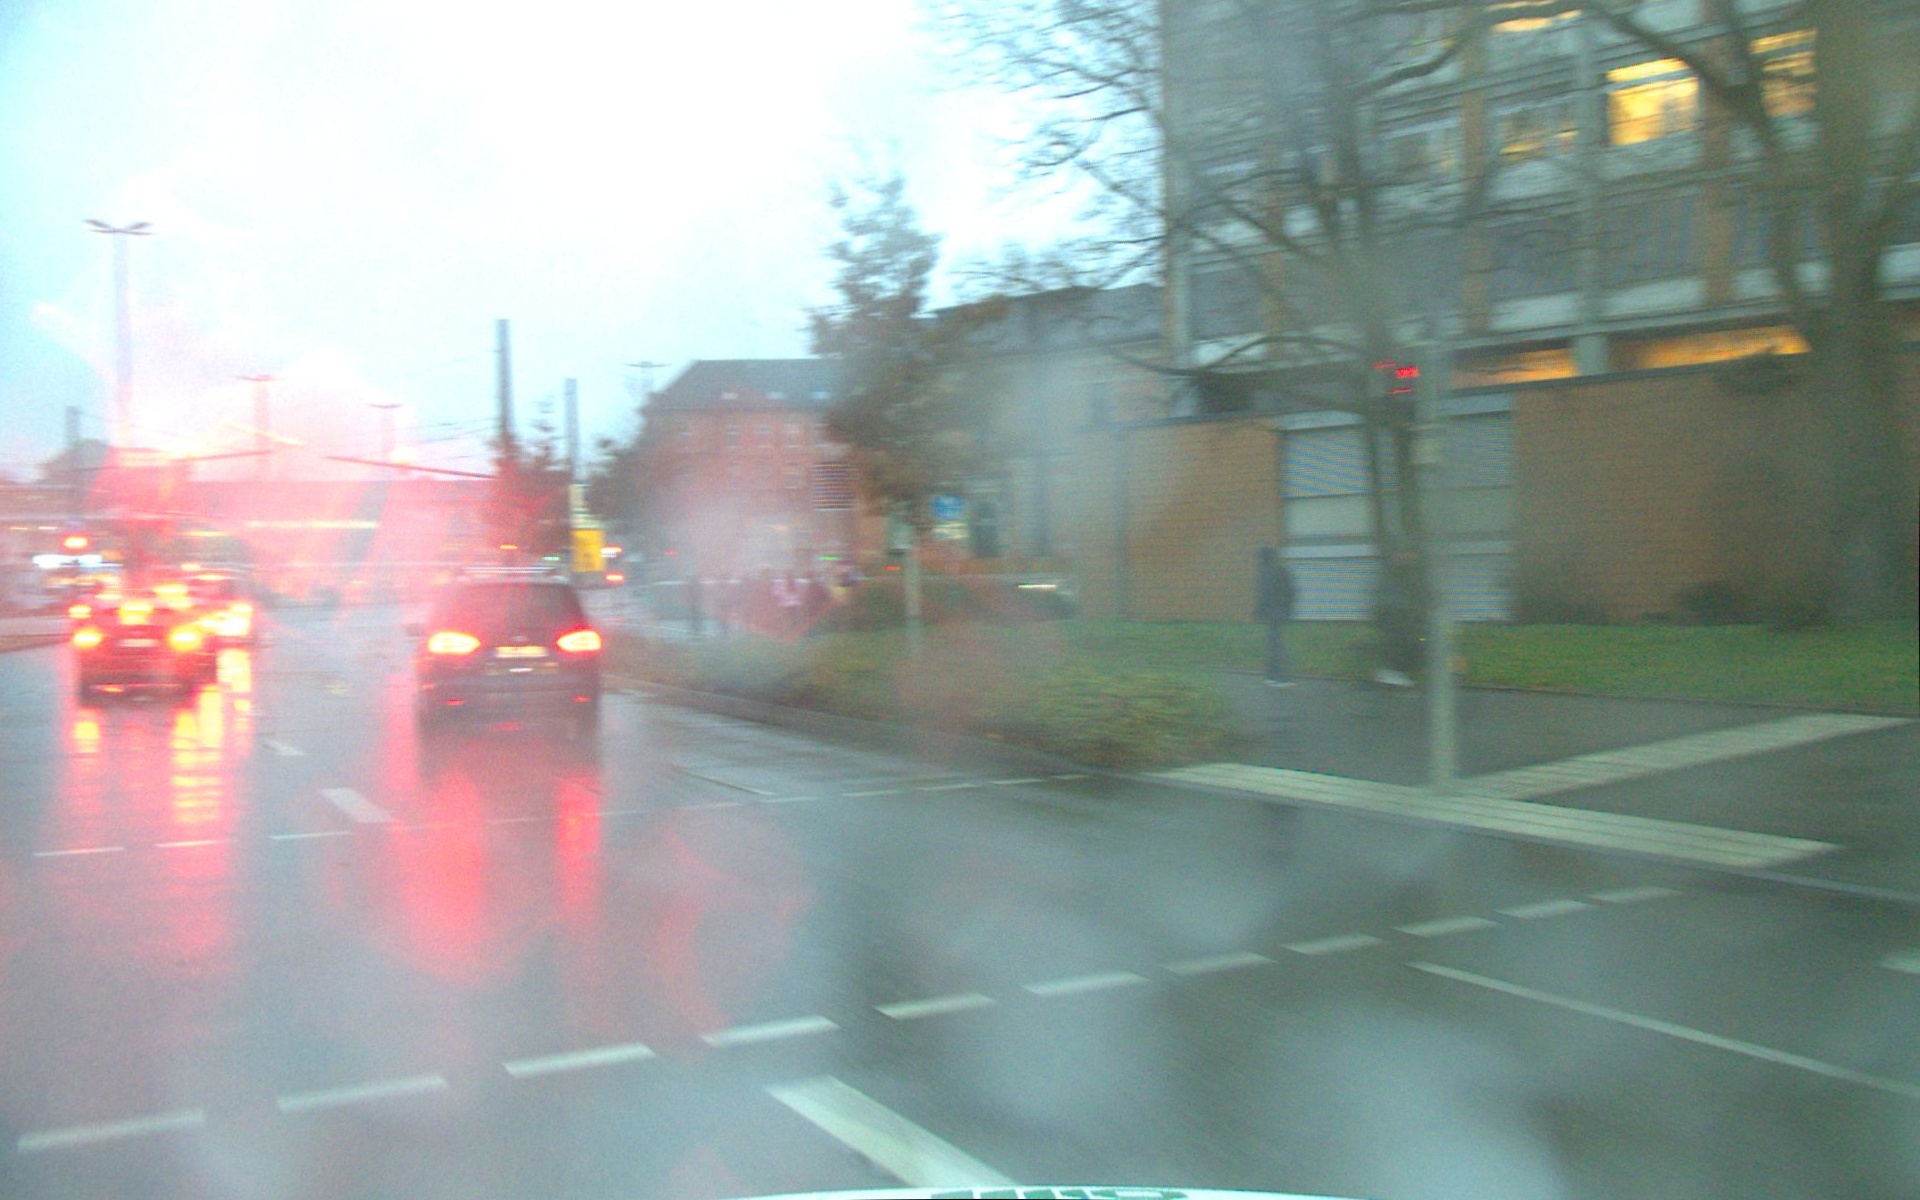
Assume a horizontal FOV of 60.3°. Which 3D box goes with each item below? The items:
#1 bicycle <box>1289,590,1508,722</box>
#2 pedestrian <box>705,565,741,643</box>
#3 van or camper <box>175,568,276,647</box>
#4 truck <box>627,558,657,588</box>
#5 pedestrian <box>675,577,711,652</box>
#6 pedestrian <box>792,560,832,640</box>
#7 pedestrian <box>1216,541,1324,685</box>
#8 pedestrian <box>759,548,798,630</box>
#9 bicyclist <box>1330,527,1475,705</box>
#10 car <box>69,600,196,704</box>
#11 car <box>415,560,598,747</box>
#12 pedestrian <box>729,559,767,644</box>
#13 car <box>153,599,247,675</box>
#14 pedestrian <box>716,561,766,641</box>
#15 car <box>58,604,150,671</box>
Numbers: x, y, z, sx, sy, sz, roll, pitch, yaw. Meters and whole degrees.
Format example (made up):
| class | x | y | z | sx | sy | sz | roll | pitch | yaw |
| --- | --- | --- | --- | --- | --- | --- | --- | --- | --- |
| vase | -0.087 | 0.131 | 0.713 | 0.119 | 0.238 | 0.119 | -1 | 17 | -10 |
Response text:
| class | x | y | z | sx | sy | sz | roll | pitch | yaw |
| --- | --- | --- | --- | --- | --- | --- | --- | --- | --- |
| bicycle | 4.322 | 0.511 | 16.500 | 0.795 | 1.161 | 2.193 | -5 | 3 | -28 |
| pedestrian | -6.347 | 0.095 | 44.311 | 0.790 | 2.048 | 0.761 | 0 | 3 | 4 |
| van or camper | -20.999 | 0.182 | 47.467 | 2.168 | 2.146 | 4.960 | 0 | 0 | -19 |
| truck | -30.426 | -2.550 | 158.443 | 1.954 | 2.738 | 5.113 | -2 | 1 | -3 |
| pedestrian | -7.138 | 0.377 | 44.213 | 0.790 | 1.963 | 0.761 | 0 | 3 | 4 |
| pedestrian | -3.237 | -0.010 | 36.149 | 0.703 | 1.717 | 0.760 | -2 | 1 | 4 |
| pedestrian | 3.884 | 0.150 | 20.759 | 0.798 | 1.717 | 1.061 | -4 | 1 | -27 |
| pedestrian | -3.953 | -0.245 | 36.123 | 0.653 | 1.716 | 0.612 | -3 | 2 | 4 |
| bicyclist | 4.371 | 0.141 | 16.365 | 0.795 | 1.645 | 1.076 | -5 | 3 | -28 |
| car | -13.264 | 0.790 | 26.586 | 1.680 | 1.507 | 3.839 | 1 | 0 | -26 |
| car | -5.184 | 0.487 | 18.626 | 1.750 | 1.831 | 4.402 | -1 | 1 | -18 |
| pedestrian | -4.625 | 0.024 | 36.106 | 0.571 | 1.812 | 0.769 | -3 | 0 | 4 |
| car | -15.480 | 0.707 | 33.697 | 1.638 | 1.428 | 4.087 | 1 | 0 | -25 |
| pedestrian | -5.127 | 0.020 | 38.739 | 0.847 | 1.822 | 0.737 | -2 | 1 | -44 |
| car | -24.917 | 1.048 | 48.269 | 1.857 | 1.803 | 3.976 | -1 | 1 | -20 |
